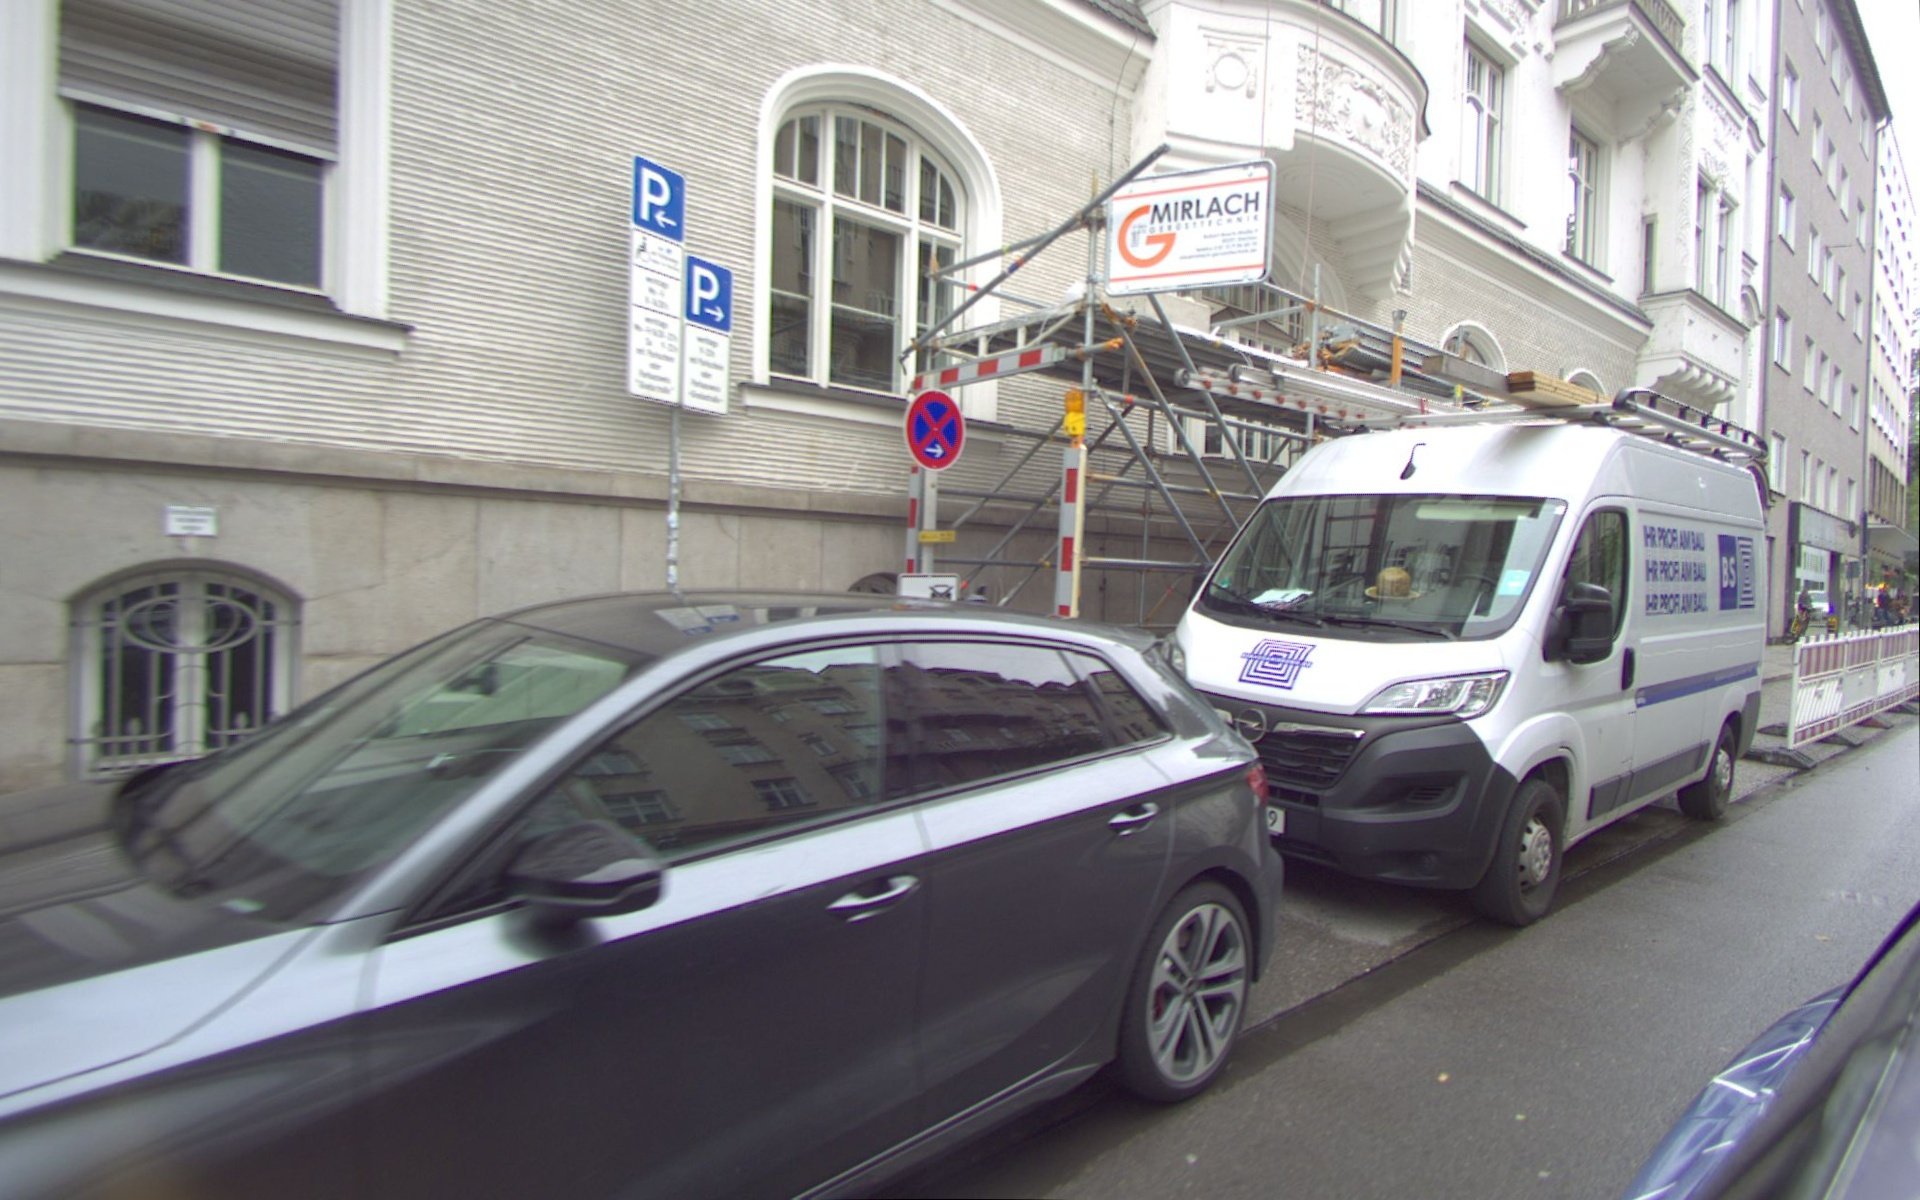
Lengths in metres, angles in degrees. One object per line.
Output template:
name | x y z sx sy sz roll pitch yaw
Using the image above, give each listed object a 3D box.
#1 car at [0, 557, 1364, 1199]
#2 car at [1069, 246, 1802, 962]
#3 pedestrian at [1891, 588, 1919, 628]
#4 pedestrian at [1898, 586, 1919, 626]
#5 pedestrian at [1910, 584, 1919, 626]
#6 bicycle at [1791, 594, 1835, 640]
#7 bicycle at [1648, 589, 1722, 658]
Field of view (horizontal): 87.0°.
car | -0.813 0.636 2.674 4.171 1.425 1.791 0 2 -42
car | 3.330 -0.037 6.388 5.349 2.721 2.082 0 3 -41
pedestrian | 35.226 0.282 37.626 0.835 1.424 0.852 2 2 45
pedestrian | 36.285 0.228 38.537 0.561 1.465 0.747 0 2 -41
pedestrian | 37.497 0.205 39.272 0.835 1.609 0.793 2 2 45
bicycle | 22.235 0.427 26.358 1.813 1.131 0.592 0 2 -42
bicycle | 13.313 0.412 18.566 1.624 1.186 0.684 0 2 -40
